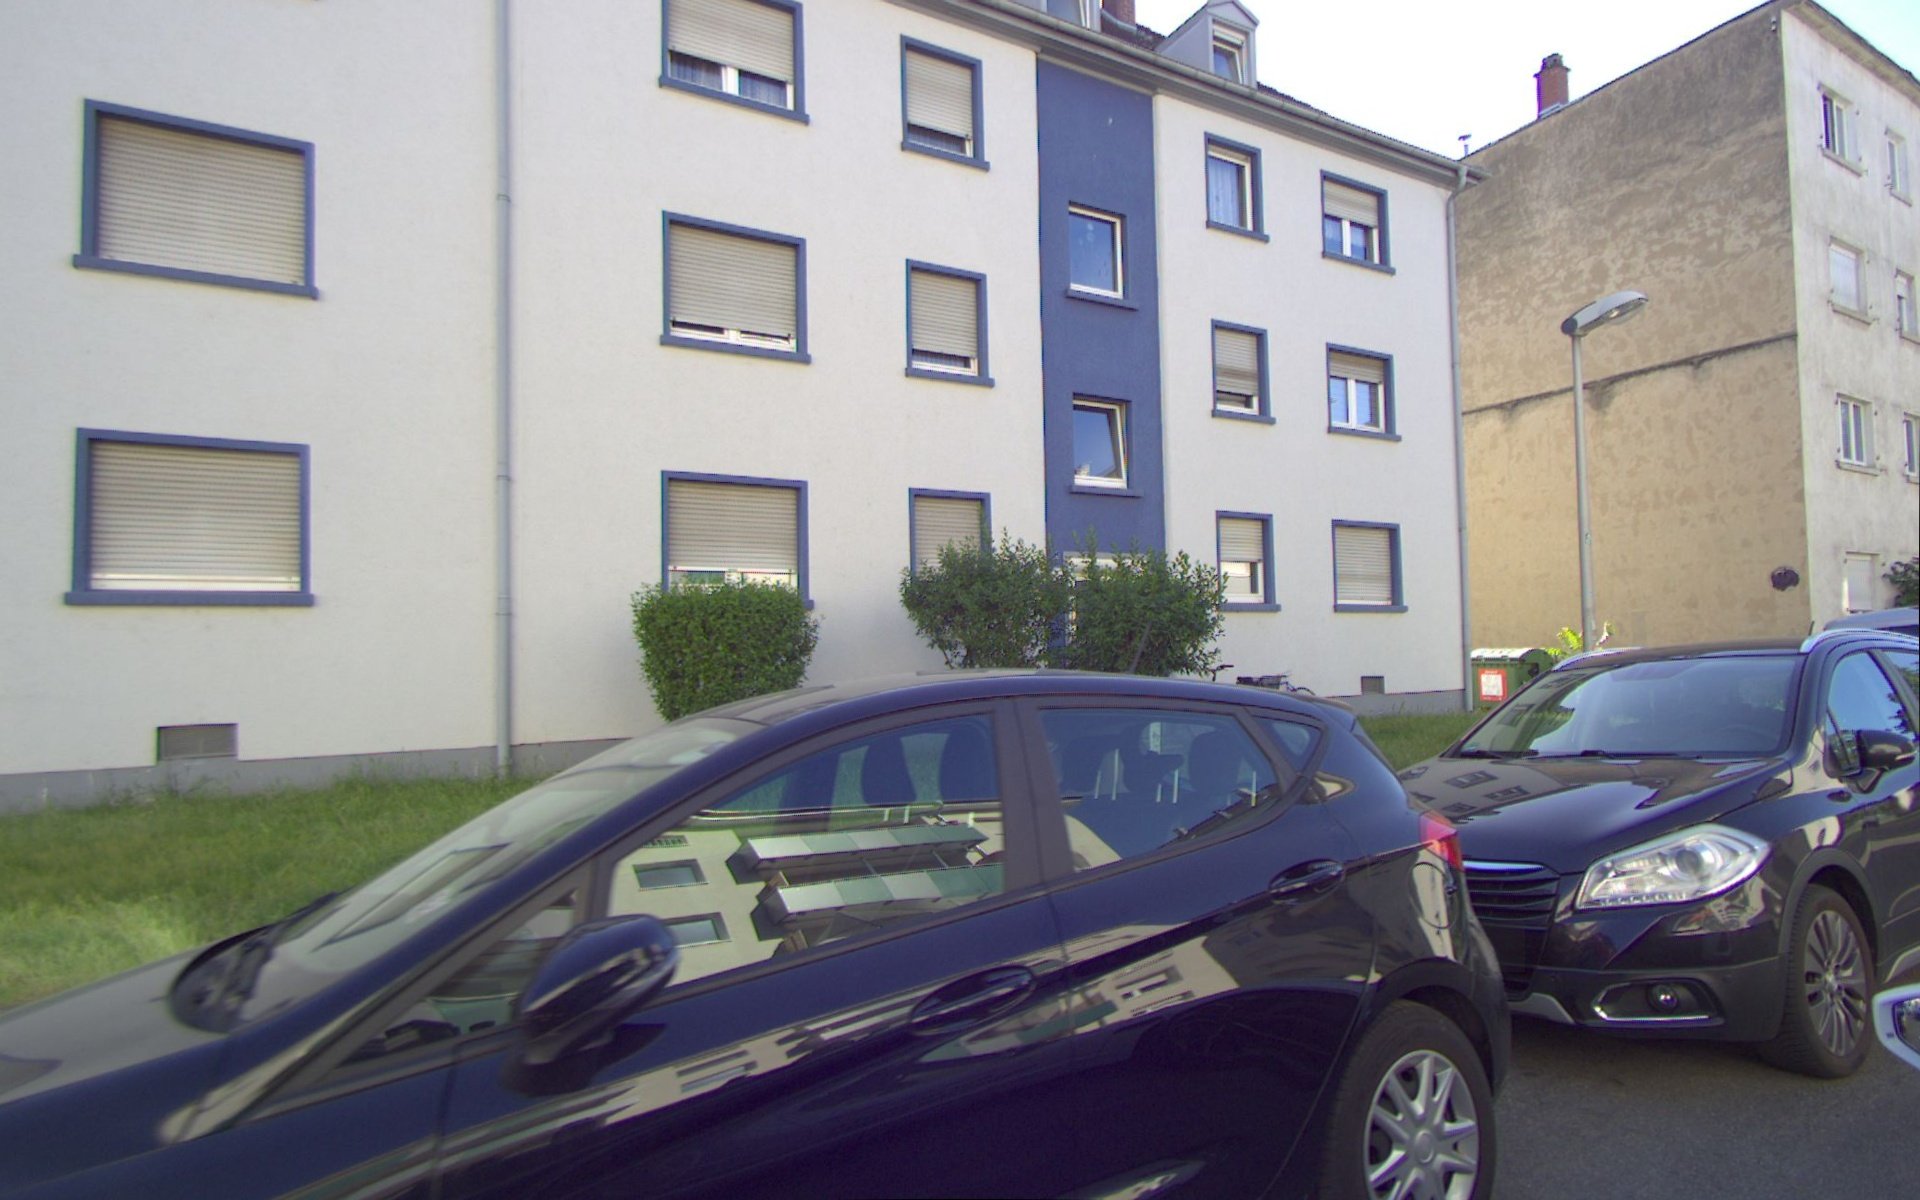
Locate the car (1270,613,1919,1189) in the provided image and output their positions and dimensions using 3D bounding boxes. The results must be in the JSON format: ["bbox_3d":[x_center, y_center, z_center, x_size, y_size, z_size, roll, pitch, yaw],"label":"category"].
[{"bbox_3d":[3.576,0.986,4.671,4.117,1.610,1.666,1,-8,-31],"label":"car"}]

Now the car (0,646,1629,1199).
[{"bbox_3d":[-0.317,0.955,2.364,3.659,1.538,1.637,1,-7,-30],"label":"car"}]

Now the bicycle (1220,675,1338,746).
[{"bbox_3d":[4.951,1.685,15.553,2.050,0.974,0.497,1,-1,-30],"label":"bicycle"}]

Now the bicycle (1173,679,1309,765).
[{"bbox_3d":[3.834,1.647,13.887,0.495,0.974,2.058,1,-1,-29],"label":"bicycle"}]

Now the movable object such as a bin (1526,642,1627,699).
[{"bbox_3d":[11.500,1.333,18.756,1.190,1.012,1.125,2,-6,-30],"label":"movable object such as a bin"}]

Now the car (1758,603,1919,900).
[{"bbox_3d":[8.195,0.968,7.442,4.891,1.852,1.793,1,-7,-30],"label":"car"}]

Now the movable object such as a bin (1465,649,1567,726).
[{"bbox_3d":[10.935,1.719,19.762,1.420,1.451,1.125,2,-6,-30],"label":"movable object such as a bin"}]
